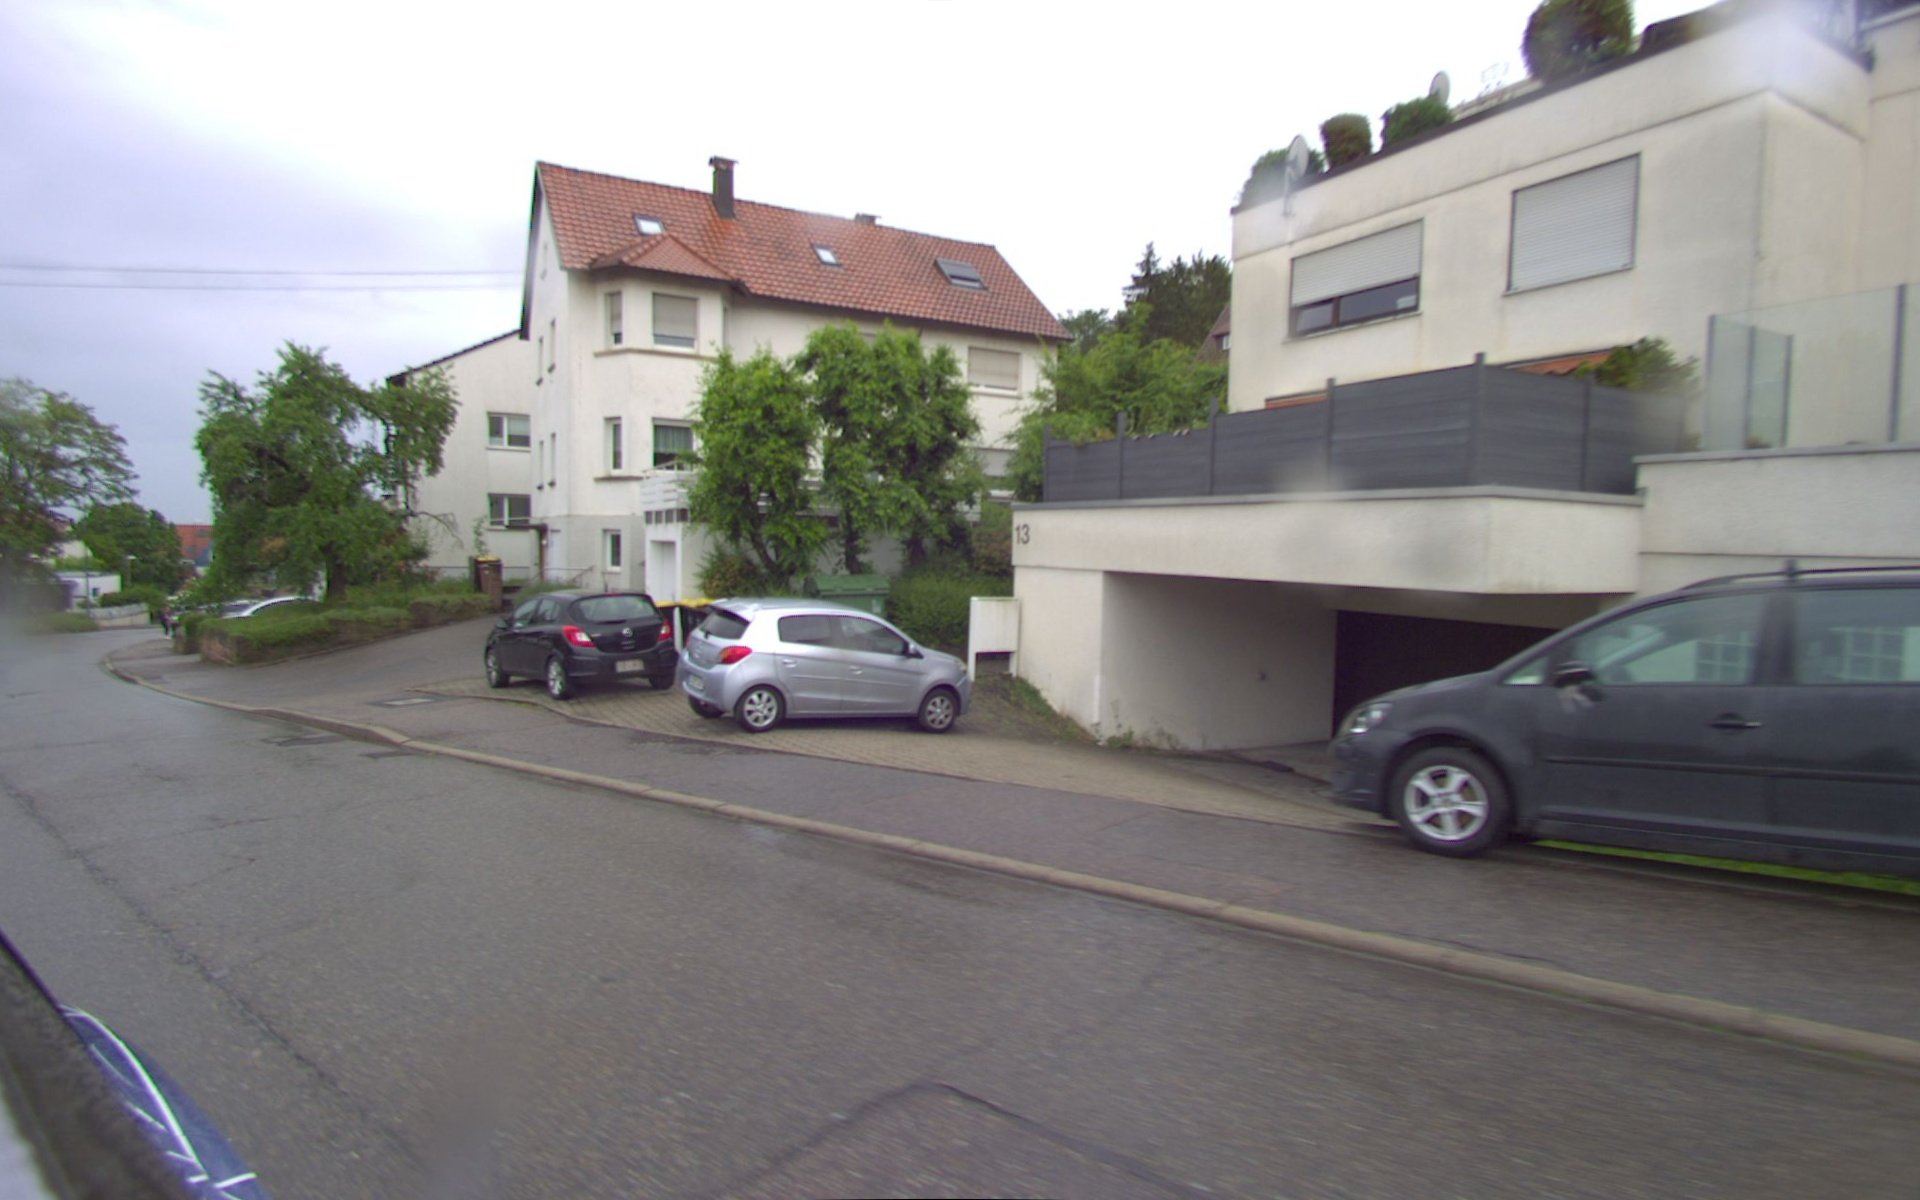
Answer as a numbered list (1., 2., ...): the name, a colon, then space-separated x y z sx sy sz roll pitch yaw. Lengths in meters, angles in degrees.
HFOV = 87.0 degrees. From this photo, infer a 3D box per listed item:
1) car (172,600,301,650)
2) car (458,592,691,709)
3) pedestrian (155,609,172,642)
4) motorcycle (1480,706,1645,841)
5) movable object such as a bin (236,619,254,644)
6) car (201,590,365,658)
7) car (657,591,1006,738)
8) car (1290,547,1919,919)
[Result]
1. car: -32.159 1.063 45.143 4.452 1.625 1.937 -9 5 -35
2. car: -5.866 0.651 15.111 1.745 1.386 4.252 -5 3 -42
3. pedestrian: -40.788 1.300 51.837 0.647 1.661 0.734 -1 -1 -38
4. motorcycle: 6.779 1.907 11.375 1.861 1.261 0.647 -1 0 -25
5. movable object such as a bin: -30.590 1.341 43.307 0.530 1.027 0.712 -6 3 -37
6. car: -22.093 0.725 33.235 4.197 1.441 1.772 -11 6 -29
7. car: -1.518 0.831 12.475 3.776 1.489 1.808 7 -4 -35
8. car: 4.272 0.581 5.446 4.414 1.609 1.785 -1 0 40
